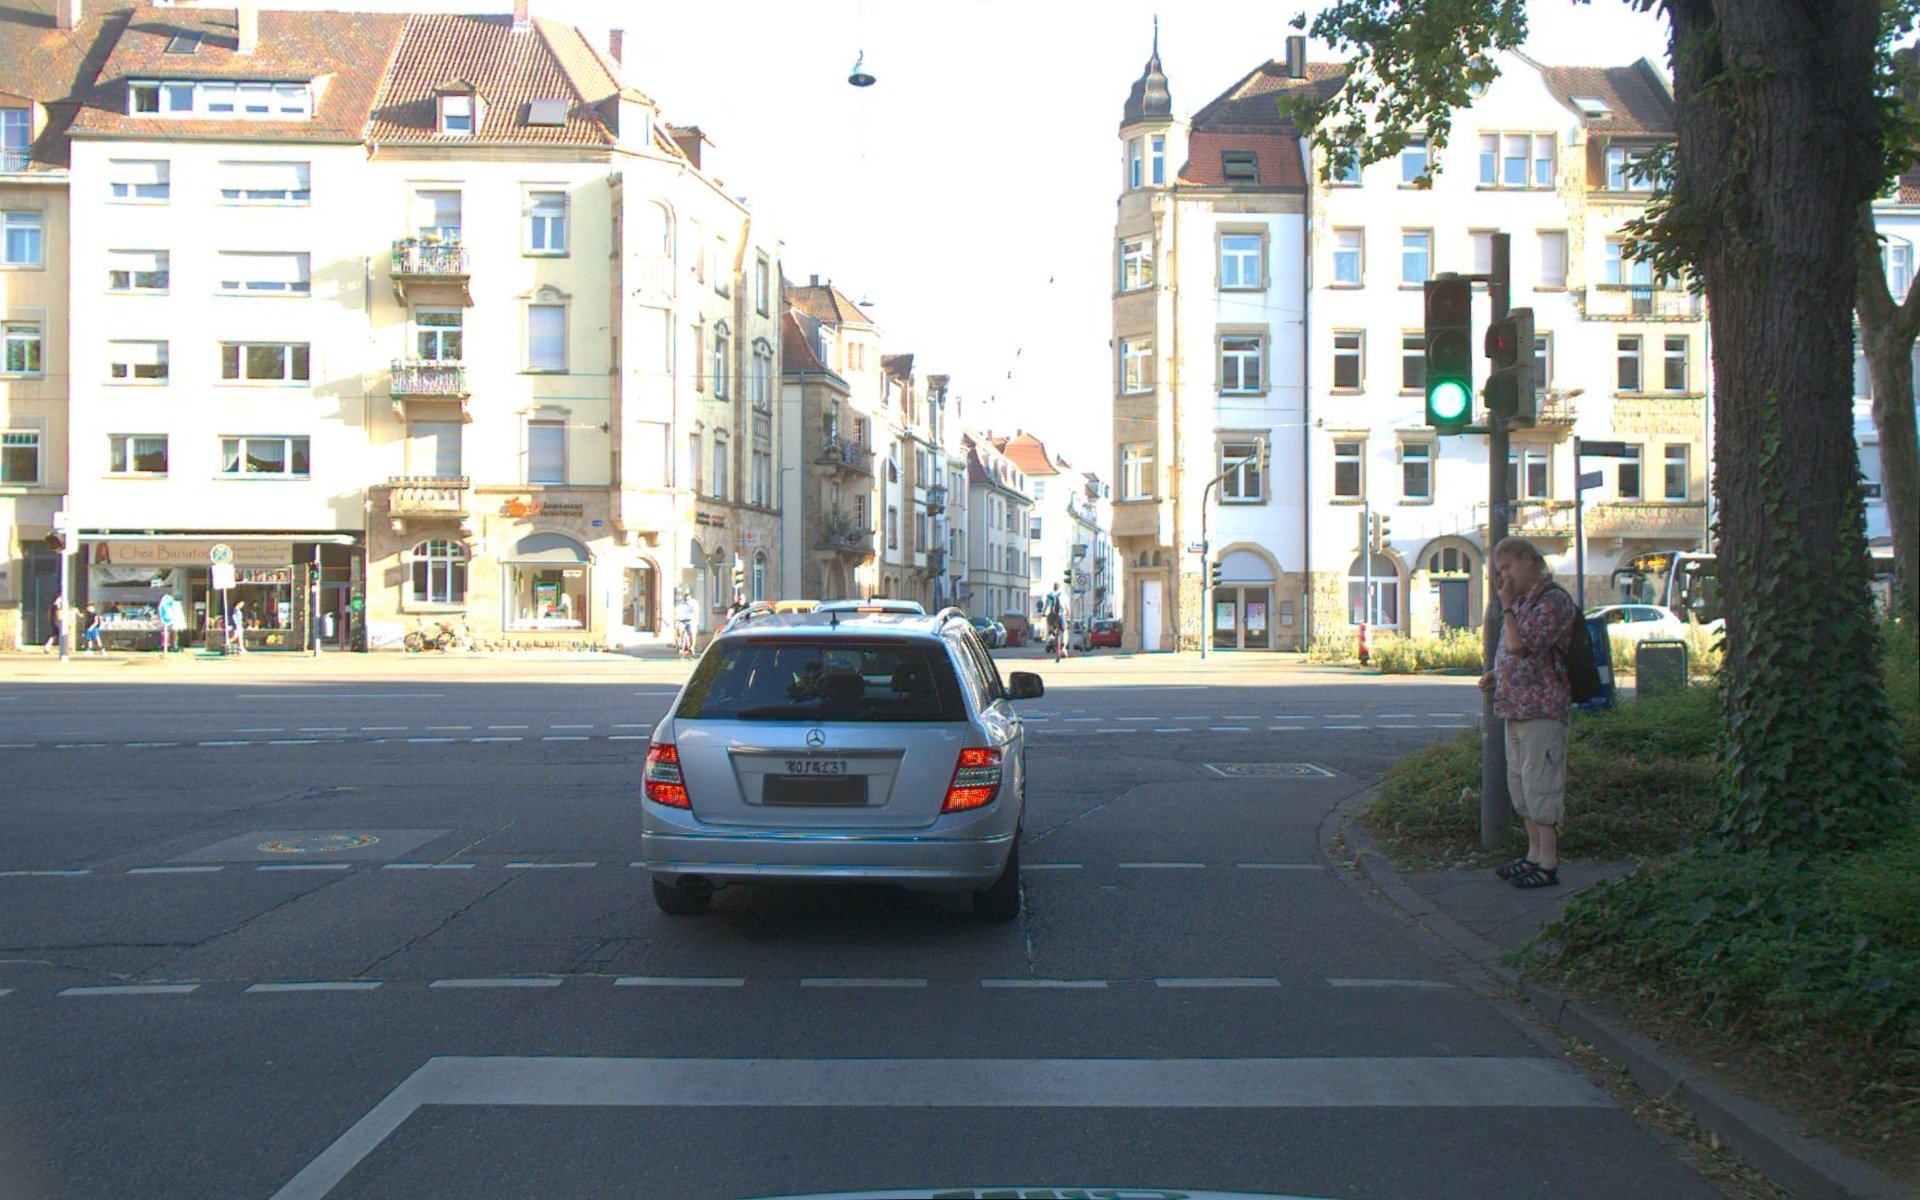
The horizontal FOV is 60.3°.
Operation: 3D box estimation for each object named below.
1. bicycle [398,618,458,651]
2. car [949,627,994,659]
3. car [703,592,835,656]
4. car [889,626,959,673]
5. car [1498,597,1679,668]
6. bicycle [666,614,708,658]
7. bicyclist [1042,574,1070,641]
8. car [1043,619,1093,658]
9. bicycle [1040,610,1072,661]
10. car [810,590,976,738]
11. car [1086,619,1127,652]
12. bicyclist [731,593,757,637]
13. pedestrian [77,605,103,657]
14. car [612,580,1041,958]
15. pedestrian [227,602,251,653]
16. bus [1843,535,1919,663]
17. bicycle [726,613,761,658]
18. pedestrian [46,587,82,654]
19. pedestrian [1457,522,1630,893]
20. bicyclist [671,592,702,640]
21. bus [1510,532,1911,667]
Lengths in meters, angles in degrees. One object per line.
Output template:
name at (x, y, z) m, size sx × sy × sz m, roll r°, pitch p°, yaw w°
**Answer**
bicycle at (-17.083, 1.105, 53.123) m, size 1.771 × 1.046 × 0.492 m, roll 0°, pitch 0°, yaw -5°
car at (0.650, 2.312, 89.580) m, size 1.791 × 1.644 × 4.003 m, roll 1°, pitch -1°, yaw 10°
car at (-6.026, 0.768, 52.609) m, size 1.881 × 1.933 × 4.297 m, roll 0°, pitch -1°, yaw 33°
car at (-1.382, 1.918, 64.826) m, size 1.791 × 1.736 × 4.003 m, roll 1°, pitch -1°, yaw 13°
car at (16.026, 0.814, 42.308) m, size 3.905 × 1.713 × 1.936 m, roll 1°, pitch -1°, yaw 0°
bicycle at (-7.309, 0.951, 44.378) m, size 0.637 × 1.124 × 2.552 m, roll 1°, pitch -1°, yaw 1°
bicyclist at (2.214, 0.171, 38.277) m, size 0.597 × 1.520 × 0.767 m, roll 1°, pitch -1°, yaw 1°
car at (4.805, 1.678, 73.049) m, size 1.791 × 1.644 × 4.003 m, roll 1°, pitch -1°, yaw 9°
bicycle at (2.209, 0.813, 38.240) m, size 0.606 × 1.124 × 2.552 m, roll 1°, pitch -1°, yaw 1°
car at (-0.724, 0.681, 19.041) m, size 1.697 × 1.506 × 3.813 m, roll 1°, pitch -1°, yaw -1°
car at (7.896, 1.895, 88.926) m, size 1.791 × 1.736 × 4.003 m, roll 1°, pitch -1°, yaw 11°
bicyclist at (-5.884, 0.419, 45.088) m, size 0.597 × 1.178 × 0.767 m, roll 1°, pitch -1°, yaw 1°
pedestrian at (-26.897, 0.964, 51.151) m, size 0.552 × 1.591 × 0.467 m, roll 1°, pitch -1°, yaw -7°
car at (-0.447, 0.703, 8.824) m, size 1.696 × 1.503 × 4.174 m, roll 1°, pitch -1°, yaw 3°
pedestrian at (-22.794, 0.867, 52.291) m, size 0.552 × 1.591 × 0.467 m, roll 1°, pitch -1°, yaw -7°
bus at (31.282, 0.091, 46.154) m, size 11.698 × 3.433 × 3.264 m, roll 1°, pitch -1°, yaw -2°
bicycle at (-5.879, 0.954, 44.979) m, size 0.637 × 1.124 × 1.925 m, roll 1°, pitch 1°, yaw 1°
pedestrian at (-27.674, 0.630, 51.093) m, size 0.653 × 2.049 × 0.769 m, roll 0°, pitch 0°, yaw 6°
pedestrian at (3.009, 0.535, 8.586) m, size 0.685 × 1.838 × 0.666 m, roll 1°, pitch -1°, yaw 5°
bicyclist at (-7.306, 0.432, 44.201) m, size 0.645 × 1.257 × 0.767 m, roll 1°, pitch -1°, yaw 1°
bus at (20.560, -0.004, 45.697) m, size 9.668 × 3.433 × 3.275 m, roll 1°, pitch -1°, yaw -2°
